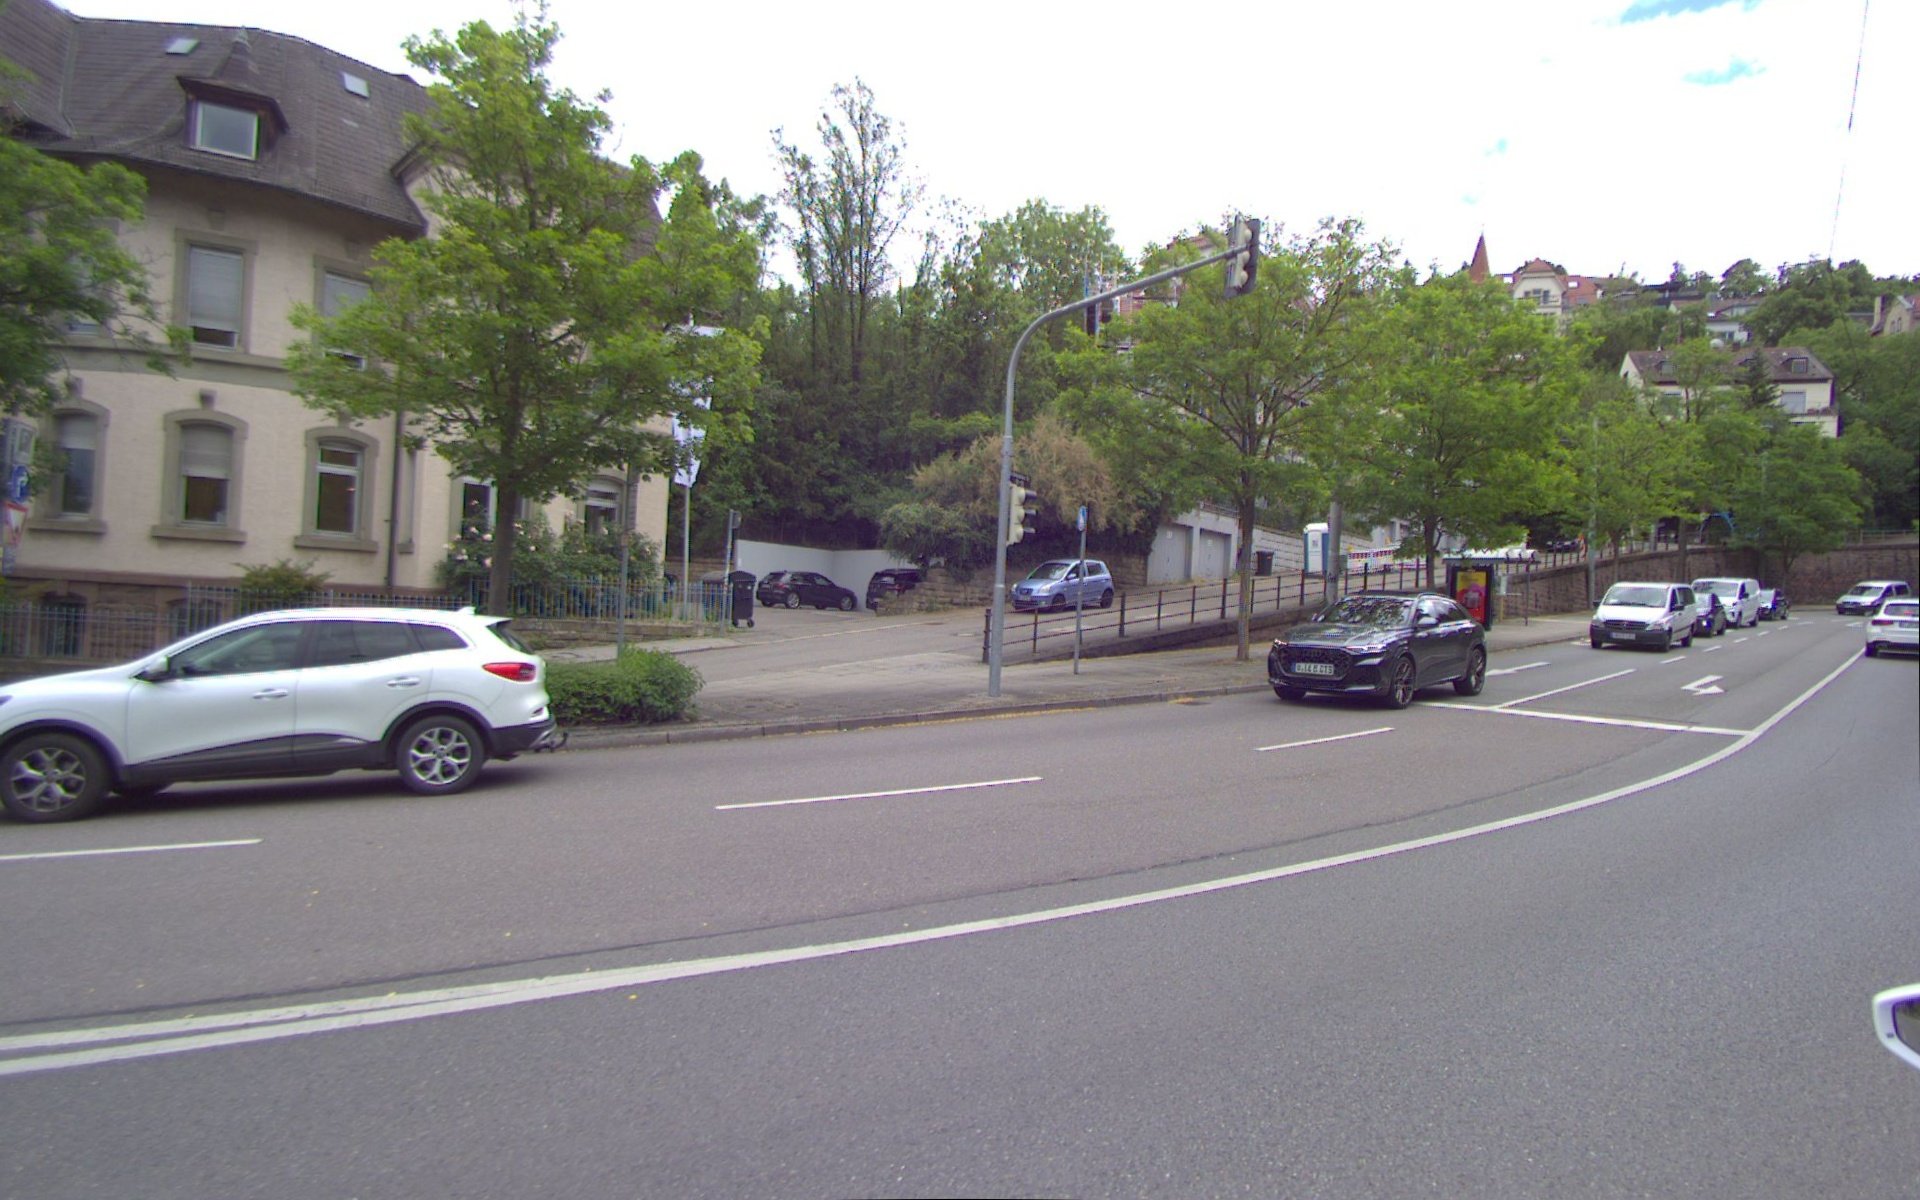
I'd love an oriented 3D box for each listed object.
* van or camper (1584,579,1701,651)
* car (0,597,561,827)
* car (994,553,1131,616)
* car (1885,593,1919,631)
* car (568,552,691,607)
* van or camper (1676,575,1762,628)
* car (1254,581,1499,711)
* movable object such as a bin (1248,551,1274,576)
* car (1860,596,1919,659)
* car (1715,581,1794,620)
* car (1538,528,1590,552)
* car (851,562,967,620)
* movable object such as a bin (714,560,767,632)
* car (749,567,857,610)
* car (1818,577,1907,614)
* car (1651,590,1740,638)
[{"bbox_3d":[20.299,0.384,29.765,1.972,1.921,5.424,2,2,43],"label":"van or camper"},{"bbox_3d":[-5.863,0.846,8.907,4.312,1.676,1.892,0,-1,-22],"label":"car"},{"bbox_3d":[3.122,-0.520,30.243,3.968,1.595,1.975,-5,7,-41],"label":"car"},{"bbox_3d":[41.482,0.501,43.349,2.224,1.539,4.281,1,1,44],"label":"car"},{"bbox_3d":[-12.345,-0.721,37.609,3.920,1.862,2.001,-1,-2,15],"label":"car"},{"bbox_3d":[31.927,0.022,42.175,5.523,2.041,1.974,-1,2,-44],"label":"van or camper"},{"bbox_3d":[6.871,0.673,16.301,4.724,1.815,1.878,0,-1,-43],"label":"car"},{"bbox_3d":[12.944,-1.568,43.225,0.796,1.056,0.834,1,1,39],"label":"movable object such as a bin"},{"bbox_3d":[26.932,0.752,28.596,1.857,1.674,4.316,0,-1,43],"label":"car"},{"bbox_3d":[38.906,-0.012,49.178,4.290,1.640,1.978,-1,5,-38],"label":"car"},{"bbox_3d":[38.604,-3.814,64.196,3.562,1.296,1.541,0,0,-35],"label":"car"},{"bbox_3d":[-1.642,-0.242,33.645,1.965,1.795,3.991,-1,-1,31],"label":"car"},{"bbox_3d":[-5.625,-0.112,25.700,0.985,1.707,1.209,0,5,-30],"label":"movable object such as a bin"},{"bbox_3d":[-6.070,-0.393,39.071,3.790,1.584,1.817,1,-1,-43],"label":"car"},{"bbox_3d":[49.764,-0.264,55.385,4.225,1.823,1.940,1,3,-23],"label":"car"},{"bbox_3d":[26.235,0.441,35.788,1.973,1.541,3.965,4,3,44],"label":"car"}]
